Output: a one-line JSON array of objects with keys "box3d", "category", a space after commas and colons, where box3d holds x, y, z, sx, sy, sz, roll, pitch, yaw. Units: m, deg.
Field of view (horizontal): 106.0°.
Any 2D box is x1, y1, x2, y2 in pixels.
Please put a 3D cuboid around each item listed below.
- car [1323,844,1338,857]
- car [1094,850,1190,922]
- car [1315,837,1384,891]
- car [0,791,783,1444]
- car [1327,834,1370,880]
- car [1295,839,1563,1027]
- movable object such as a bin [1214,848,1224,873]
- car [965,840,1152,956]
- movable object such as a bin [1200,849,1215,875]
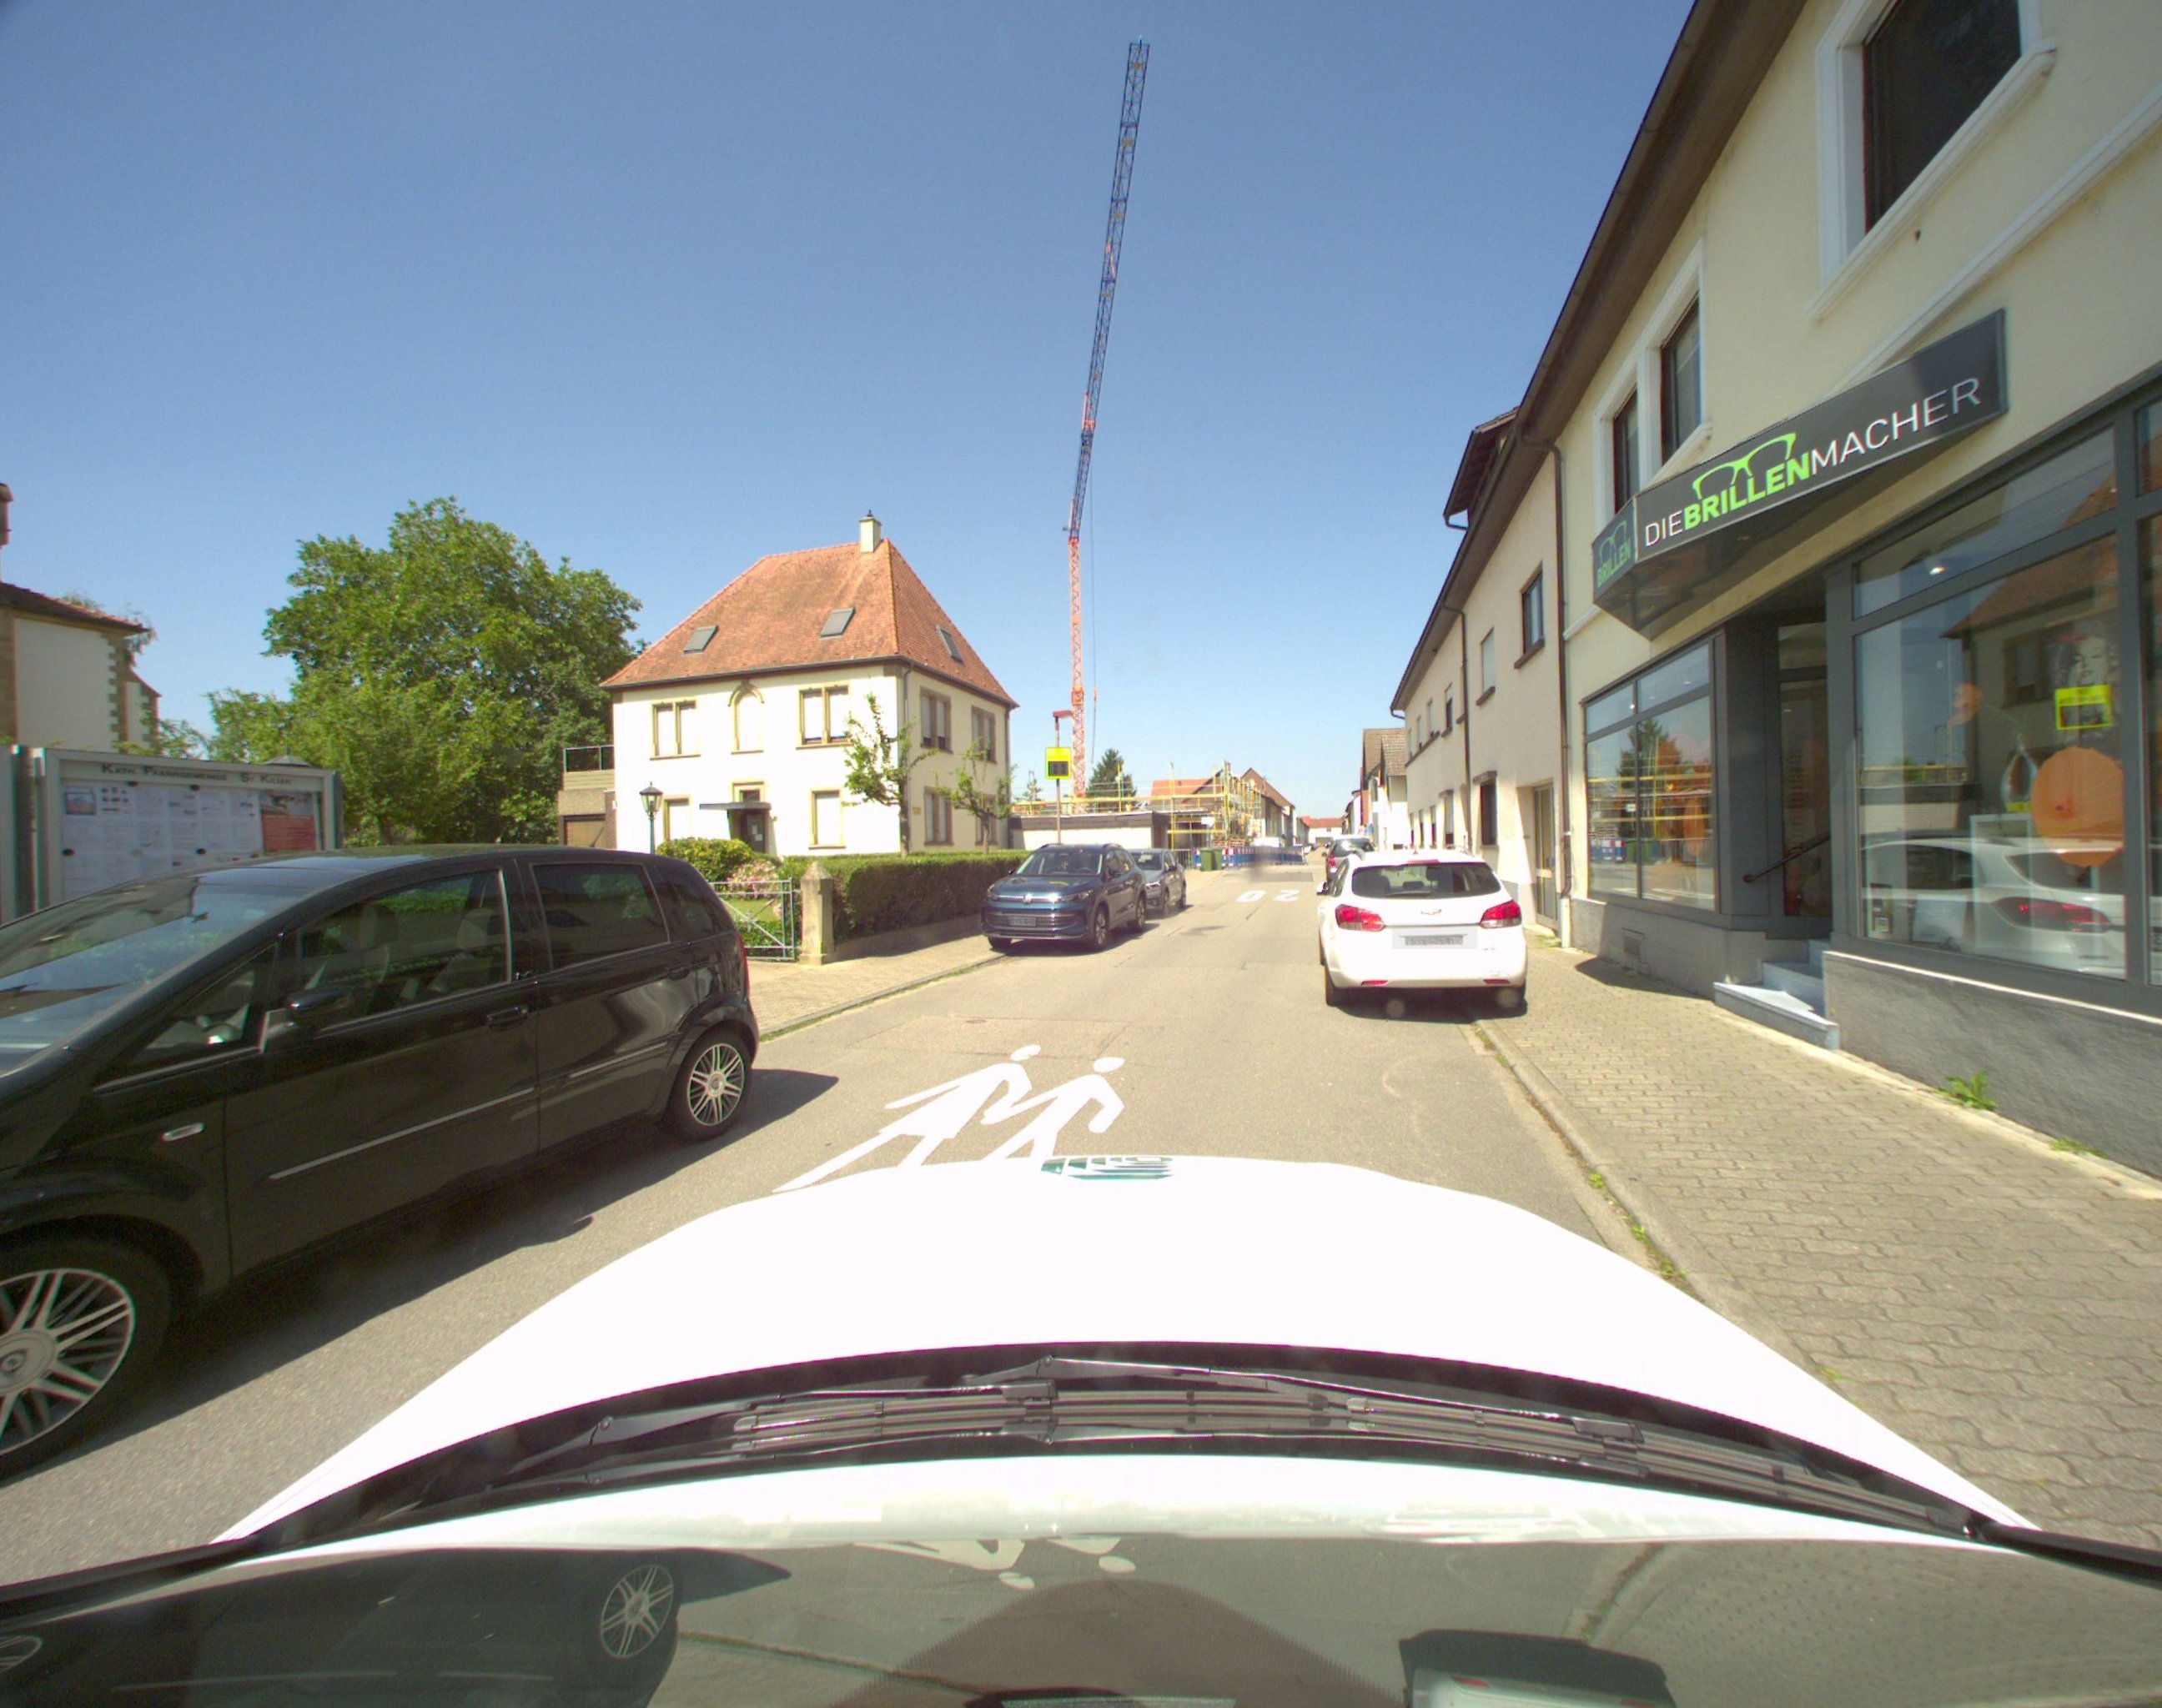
[{"box3d": [29.905, -0.433, 97.619, 1.543, 1.387, 3.465, -2, 0, 15], "category": "car"}, {"box3d": [1.515, 0.670, 19.014, 1.425, 1.474, 3.802, -2, 0, 16], "category": "car"}, {"box3d": [9.132, 0.296, 27.954, 1.871, 1.556, 3.910, -5, 0, 14], "category": "car"}, {"box3d": [-3.160, 0.656, 3.361, 1.625, 1.628, 3.785, -2, 0, 17], "category": "car"}, {"box3d": [10.764, 0.090, 32.907, 1.552, 1.613, 3.559, -2, 2, 17], "category": "car"}, {"box3d": [3.439, 0.650, 8.927, 1.874, 1.542, 4.257, -2, 0, 12], "category": "car"}, {"box3d": [6.469, 0.312, 38.208, 0.429, 1.155, 0.365, -2, 0, 7], "category": "movable object such as a bin"}, {"box3d": [-0.175, 0.619, 13.809, 1.811, 1.630, 4.237, -2, 0, 18], "category": "car"}, {"box3d": [5.879, 0.368, 37.882, 0.618, 1.155, 0.679, -2, 0, 10], "category": "movable object such as a bin"}]
